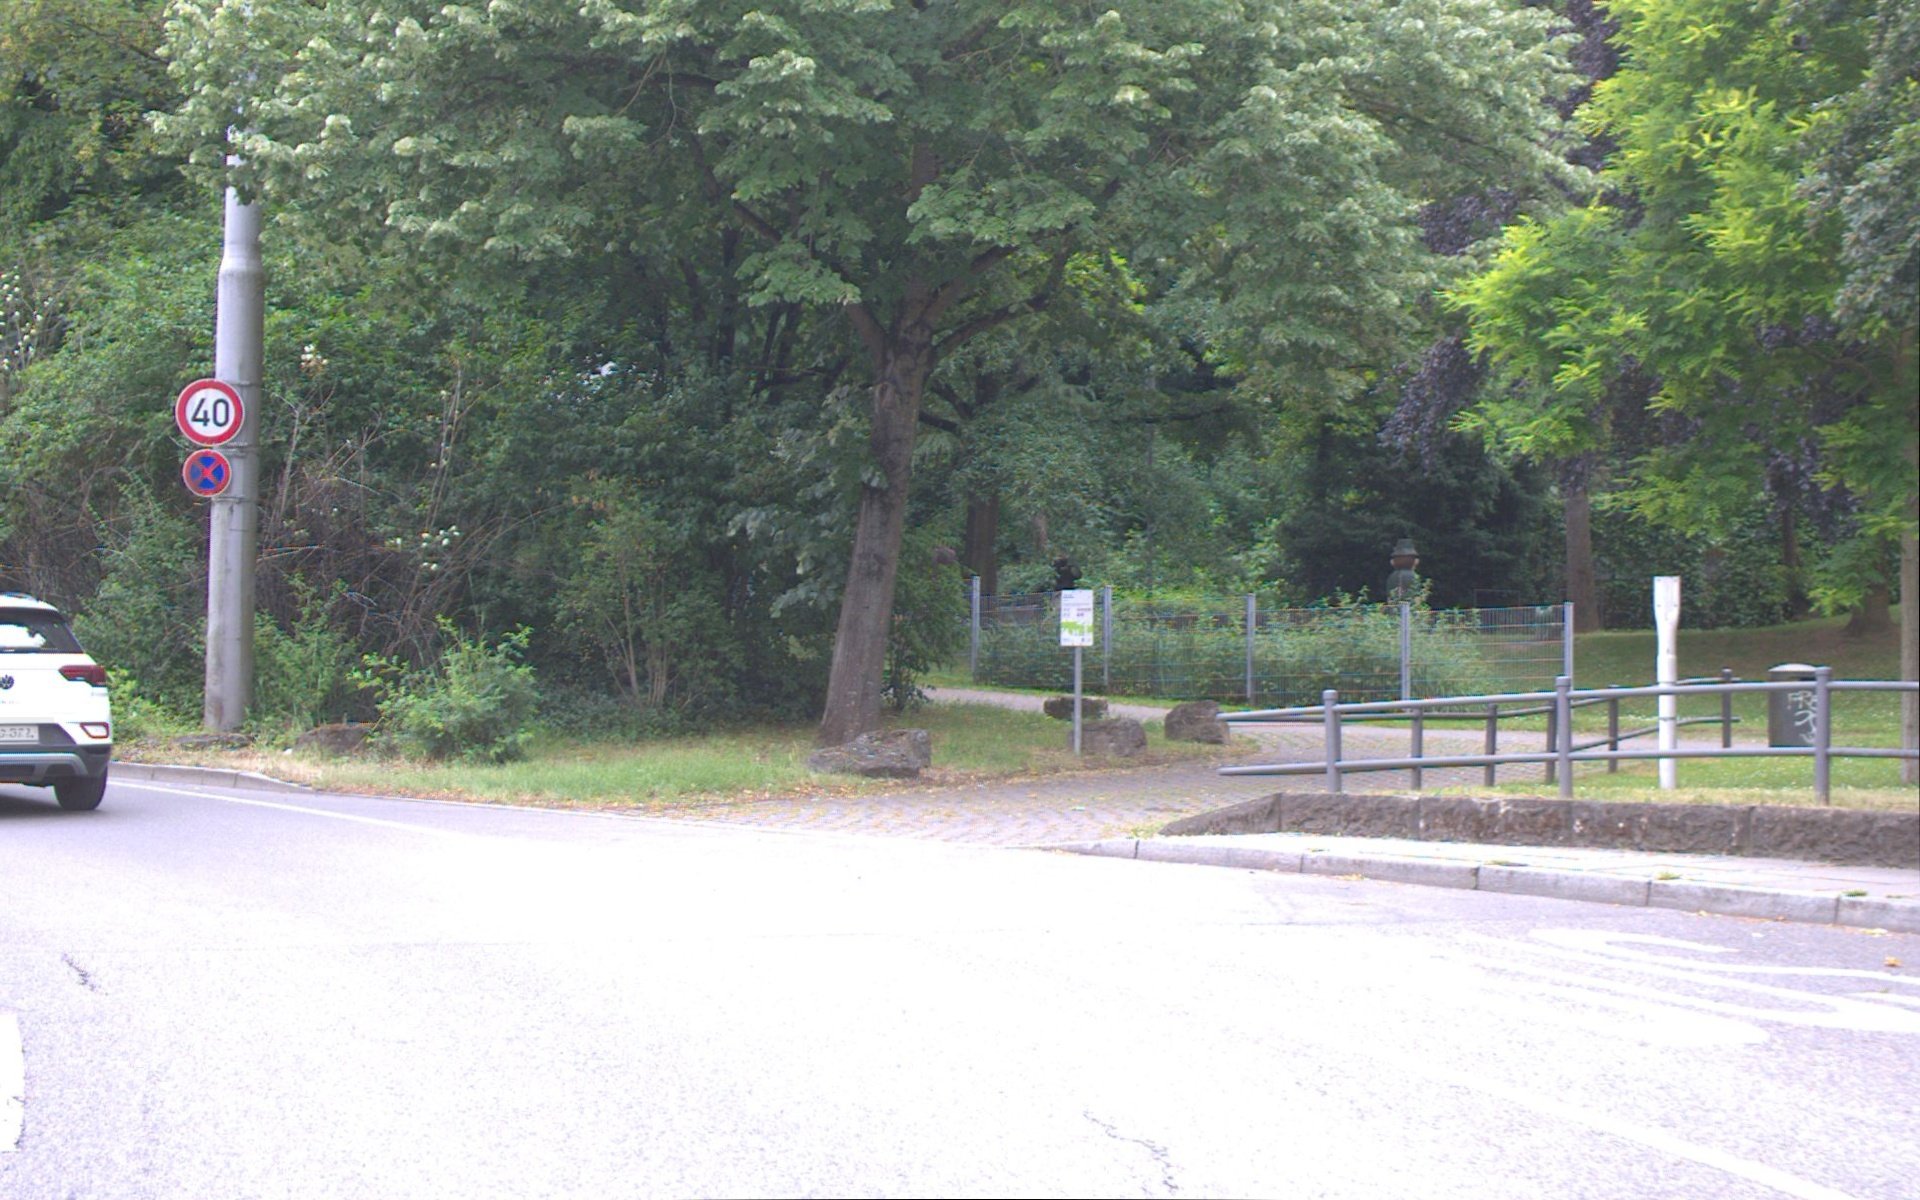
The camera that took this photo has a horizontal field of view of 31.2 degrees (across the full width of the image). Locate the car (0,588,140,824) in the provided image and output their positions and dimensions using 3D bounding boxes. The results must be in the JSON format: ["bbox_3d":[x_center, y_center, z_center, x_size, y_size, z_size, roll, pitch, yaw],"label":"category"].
[{"bbox_3d":[-7.549,0.711,25.083,1.865,1.551,3.894,0,1,-33],"label":"car"}]
